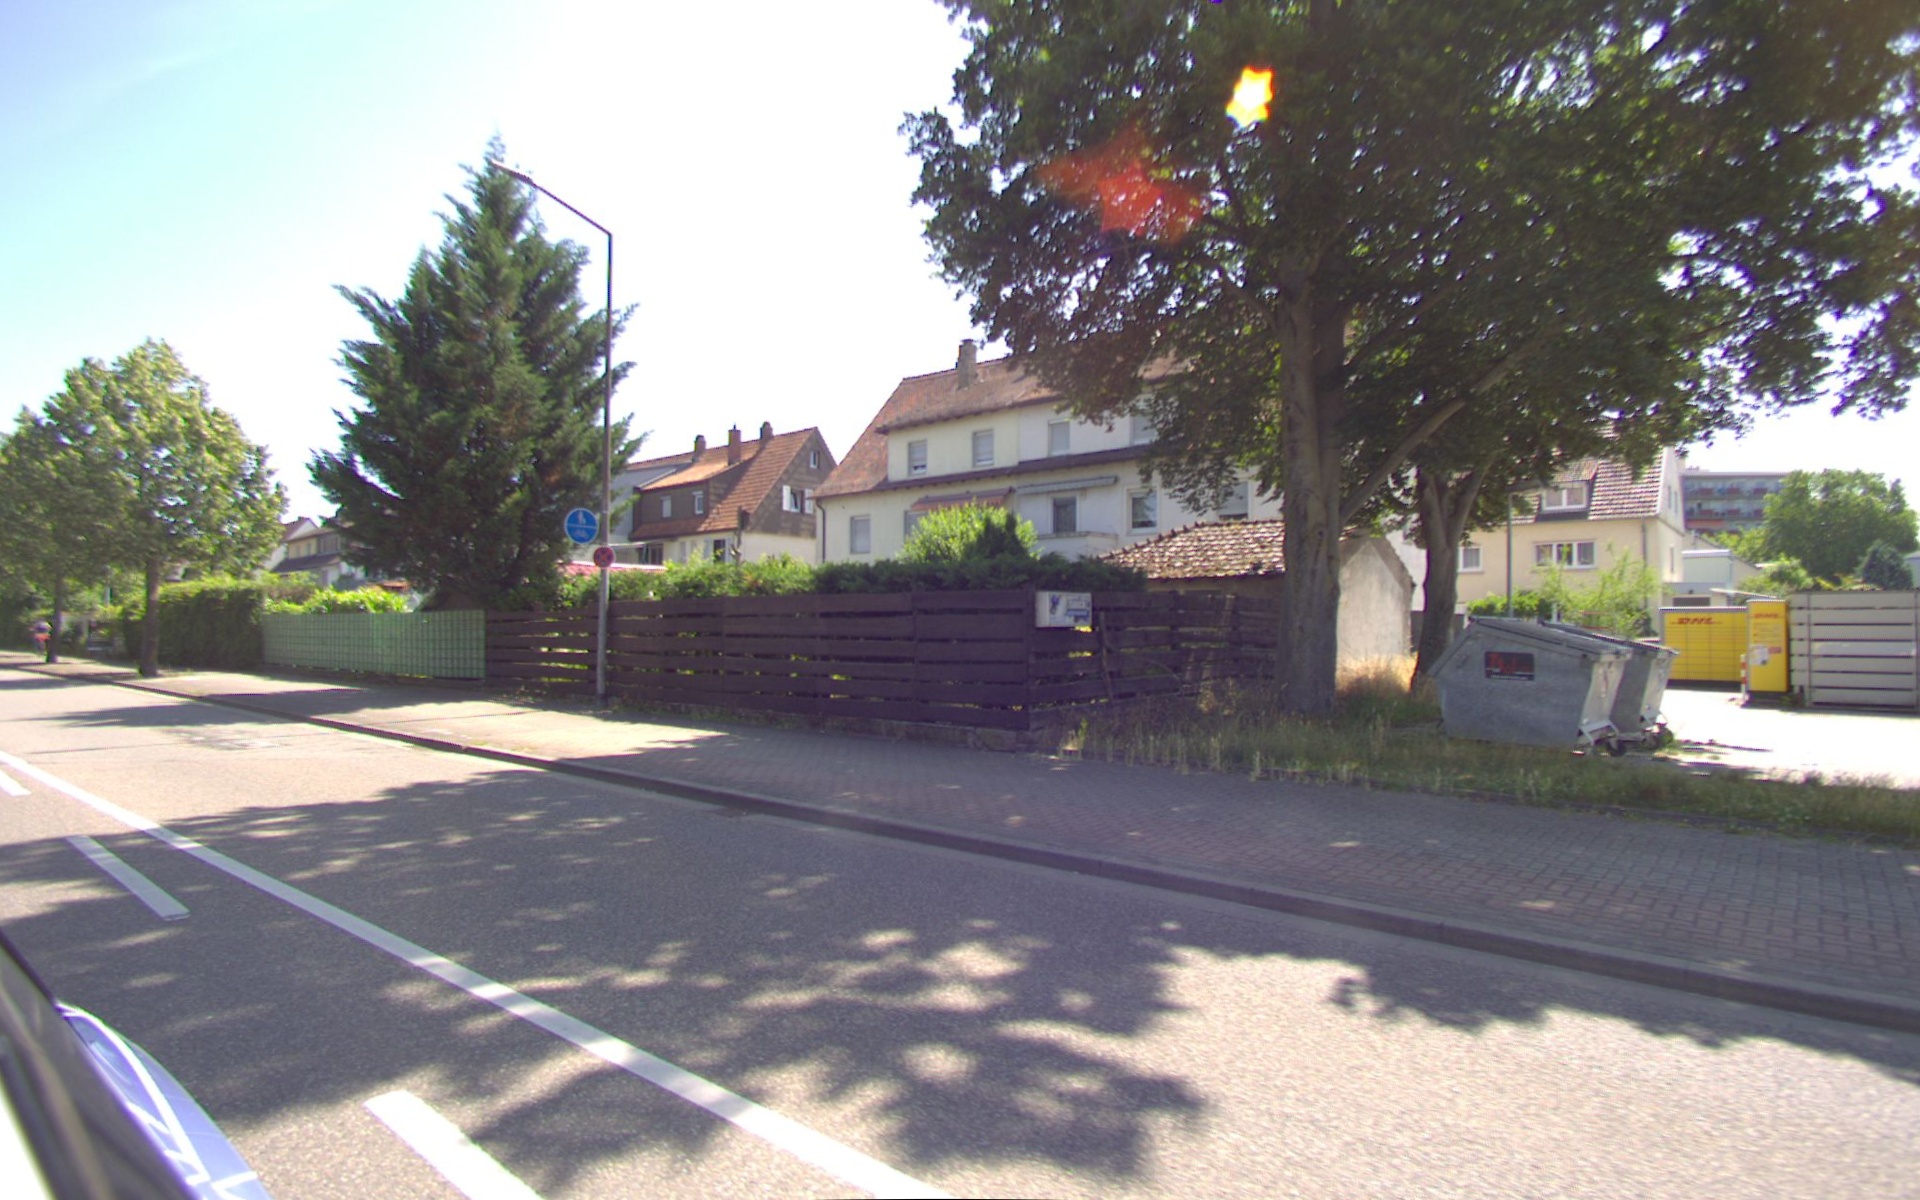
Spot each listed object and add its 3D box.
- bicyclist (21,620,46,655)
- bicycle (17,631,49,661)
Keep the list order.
[{"bbox_3d":[-37.941,1.553,41.438,0.675,1.419,0.622,-2,-3,37],"label":"bicyclist"},{"bbox_3d":[-37.923,1.888,41.411,1.813,1.189,0.626,-2,-3,37],"label":"bicycle"}]
